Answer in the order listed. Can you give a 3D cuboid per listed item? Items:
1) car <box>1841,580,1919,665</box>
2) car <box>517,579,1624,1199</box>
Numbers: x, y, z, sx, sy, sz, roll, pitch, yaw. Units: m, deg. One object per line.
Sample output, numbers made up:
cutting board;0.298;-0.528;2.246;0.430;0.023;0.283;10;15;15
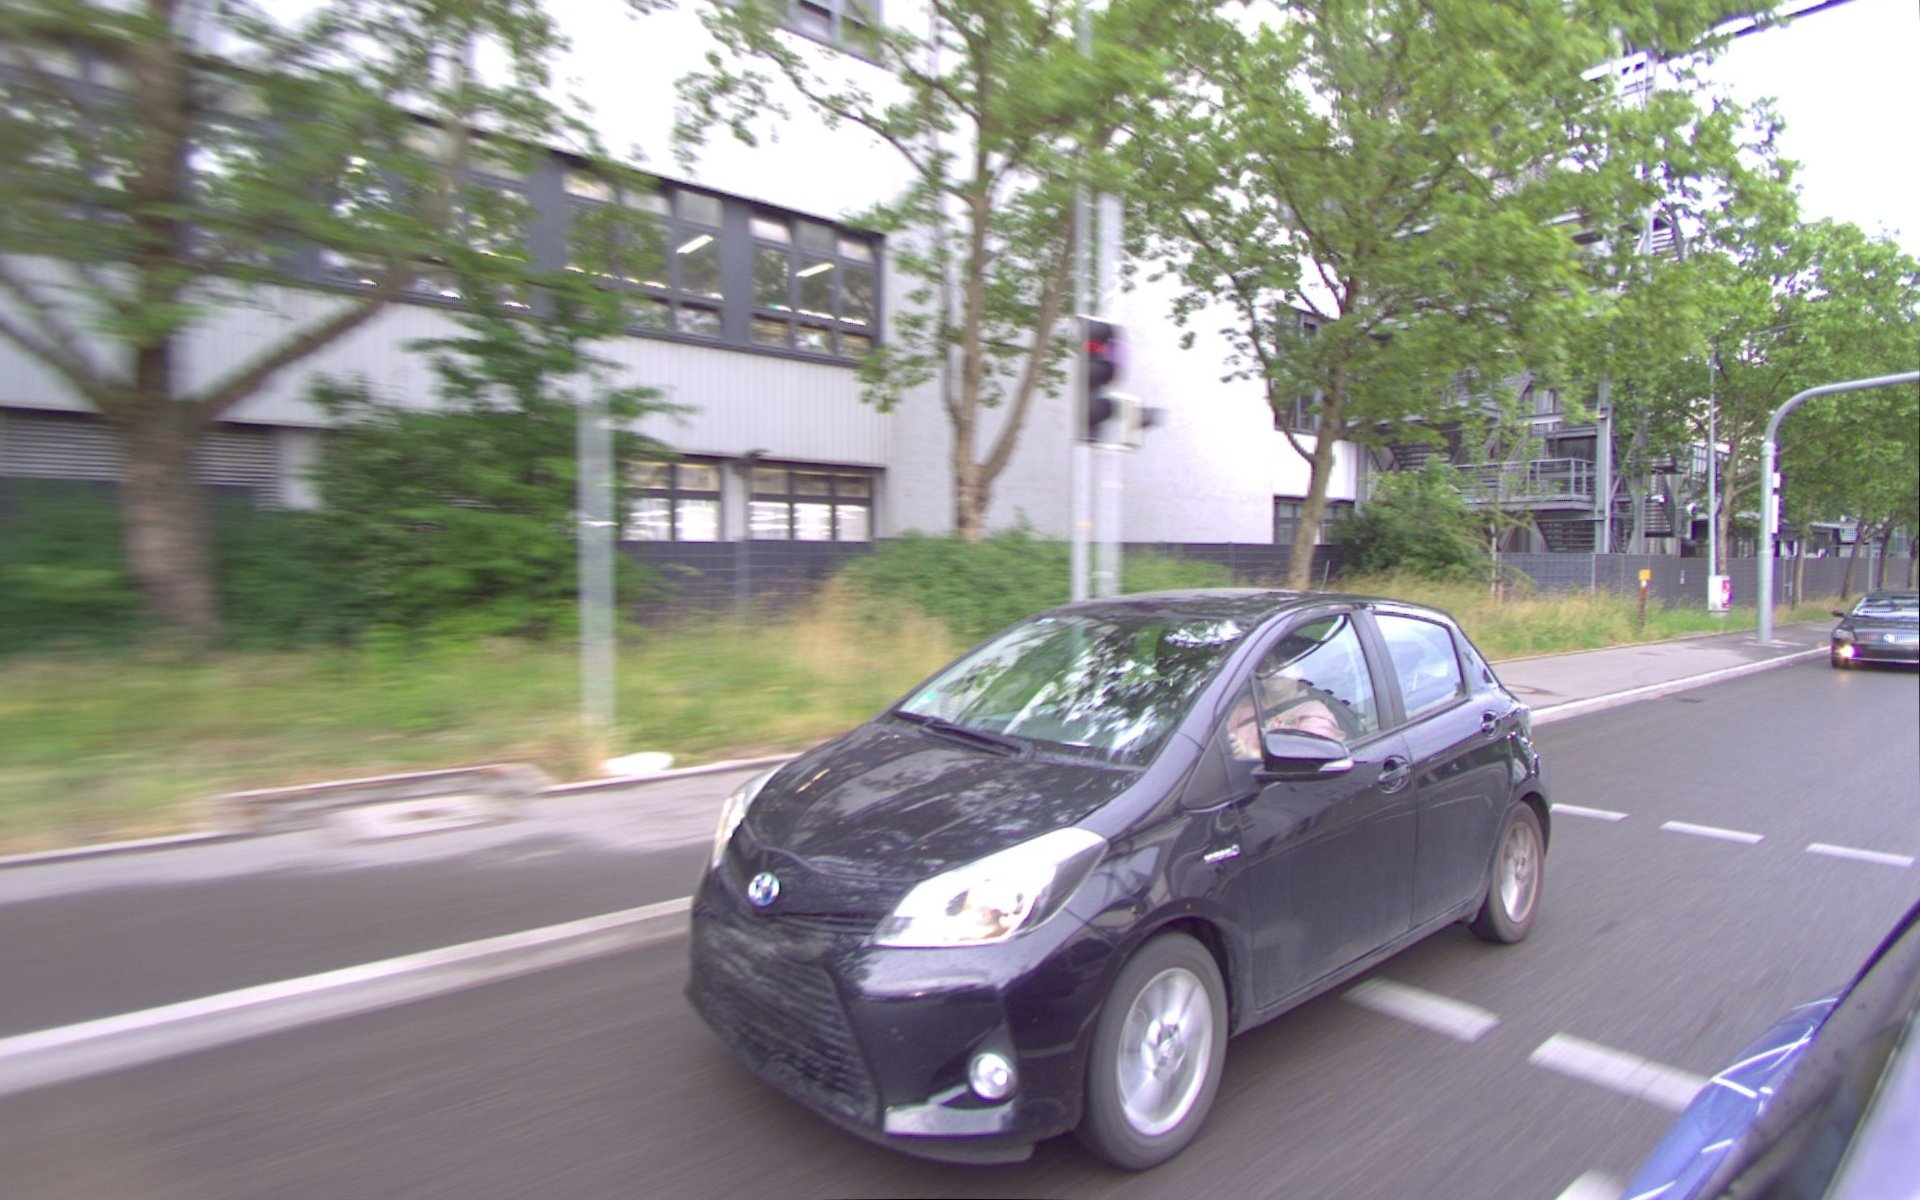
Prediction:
car;18.149;0.359;19.078;4.439;1.448;1.748;-1;2;-41
car;0.894;0.675;4.010;4.560;1.488;1.748;-1;2;-41
